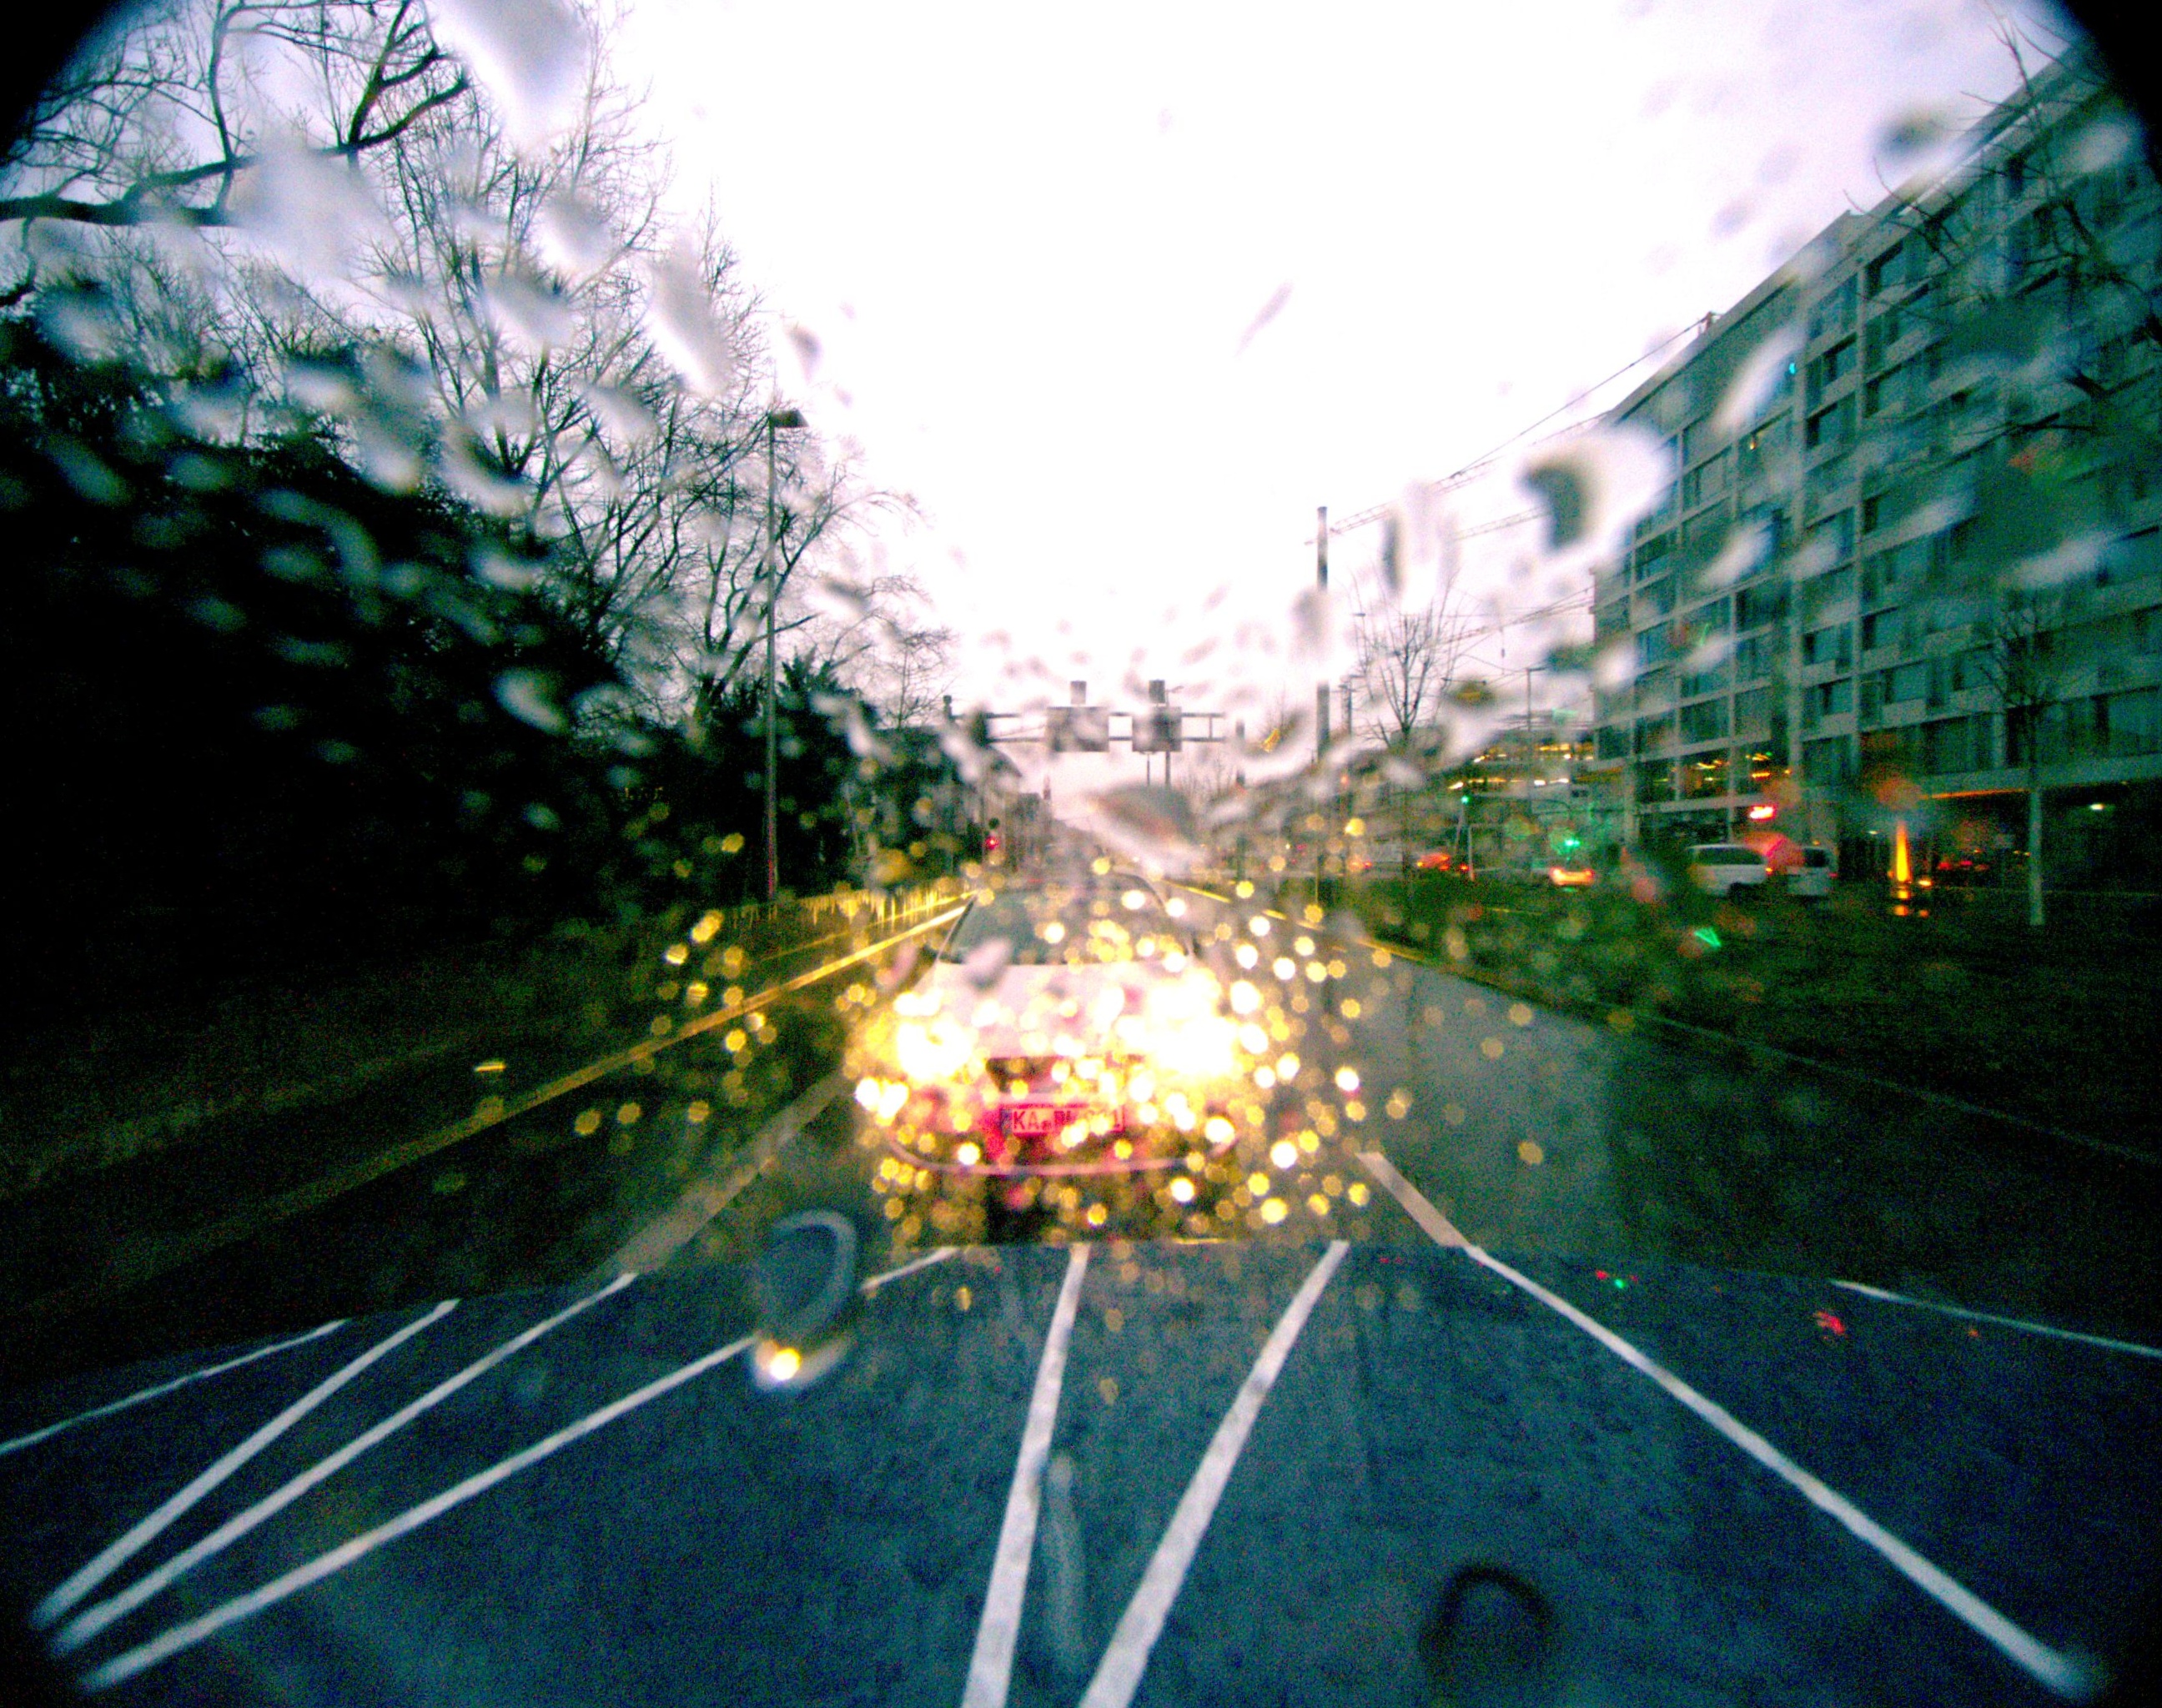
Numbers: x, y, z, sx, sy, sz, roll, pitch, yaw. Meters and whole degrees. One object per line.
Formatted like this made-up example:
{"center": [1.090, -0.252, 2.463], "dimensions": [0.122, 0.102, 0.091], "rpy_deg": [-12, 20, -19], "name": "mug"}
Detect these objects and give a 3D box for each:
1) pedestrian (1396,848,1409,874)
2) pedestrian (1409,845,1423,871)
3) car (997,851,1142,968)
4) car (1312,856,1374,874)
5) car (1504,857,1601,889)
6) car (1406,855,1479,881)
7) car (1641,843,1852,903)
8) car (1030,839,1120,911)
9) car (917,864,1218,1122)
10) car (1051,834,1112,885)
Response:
{"center": [22.258, 0.470, 52.569], "dimensions": [0.709, 1.794, 0.771], "rpy_deg": [-2, 1, 16], "name": "pedestrian"}
{"center": [23.000, 0.272, 52.133], "dimensions": [0.709, 1.794, 0.770], "rpy_deg": [-2, 1, 13], "name": "pedestrian"}
{"center": [-0.216, 0.802, 13.282], "dimensions": [2.073, 1.618, 4.267], "rpy_deg": [-2, 1, -1], "name": "car"}
{"center": [18.959, 0.759, 55.072], "dimensions": [1.821, 1.267, 3.990], "rpy_deg": [0, 0, -33], "name": "car"}
{"center": [20.443, 0.794, 33.157], "dimensions": [1.816, 1.300, 4.000], "rpy_deg": [0, 0, 1], "name": "car"}
{"center": [20.548, 0.779, 43.435], "dimensions": [2.111, 1.392, 4.257], "rpy_deg": [0, 0, -1], "name": "car"}
{"center": [20.073, 0.516, 23.306], "dimensions": [2.086, 1.659, 5.043], "rpy_deg": [0, 0, 1], "name": "car"}
{"center": [-0.103, 0.476, 20.063], "dimensions": [2.073, 1.618, 4.268], "rpy_deg": [-2, 1, 1], "name": "car"}
{"center": [-0.057, 0.902, 6.843], "dimensions": [1.886, 1.552, 4.171], "rpy_deg": [0, 0, 1], "name": "car"}
{"center": [0.035, 0.166, 27.515], "dimensions": [1.998, 1.618, 4.268], "rpy_deg": [-2, 0, 0], "name": "car"}
